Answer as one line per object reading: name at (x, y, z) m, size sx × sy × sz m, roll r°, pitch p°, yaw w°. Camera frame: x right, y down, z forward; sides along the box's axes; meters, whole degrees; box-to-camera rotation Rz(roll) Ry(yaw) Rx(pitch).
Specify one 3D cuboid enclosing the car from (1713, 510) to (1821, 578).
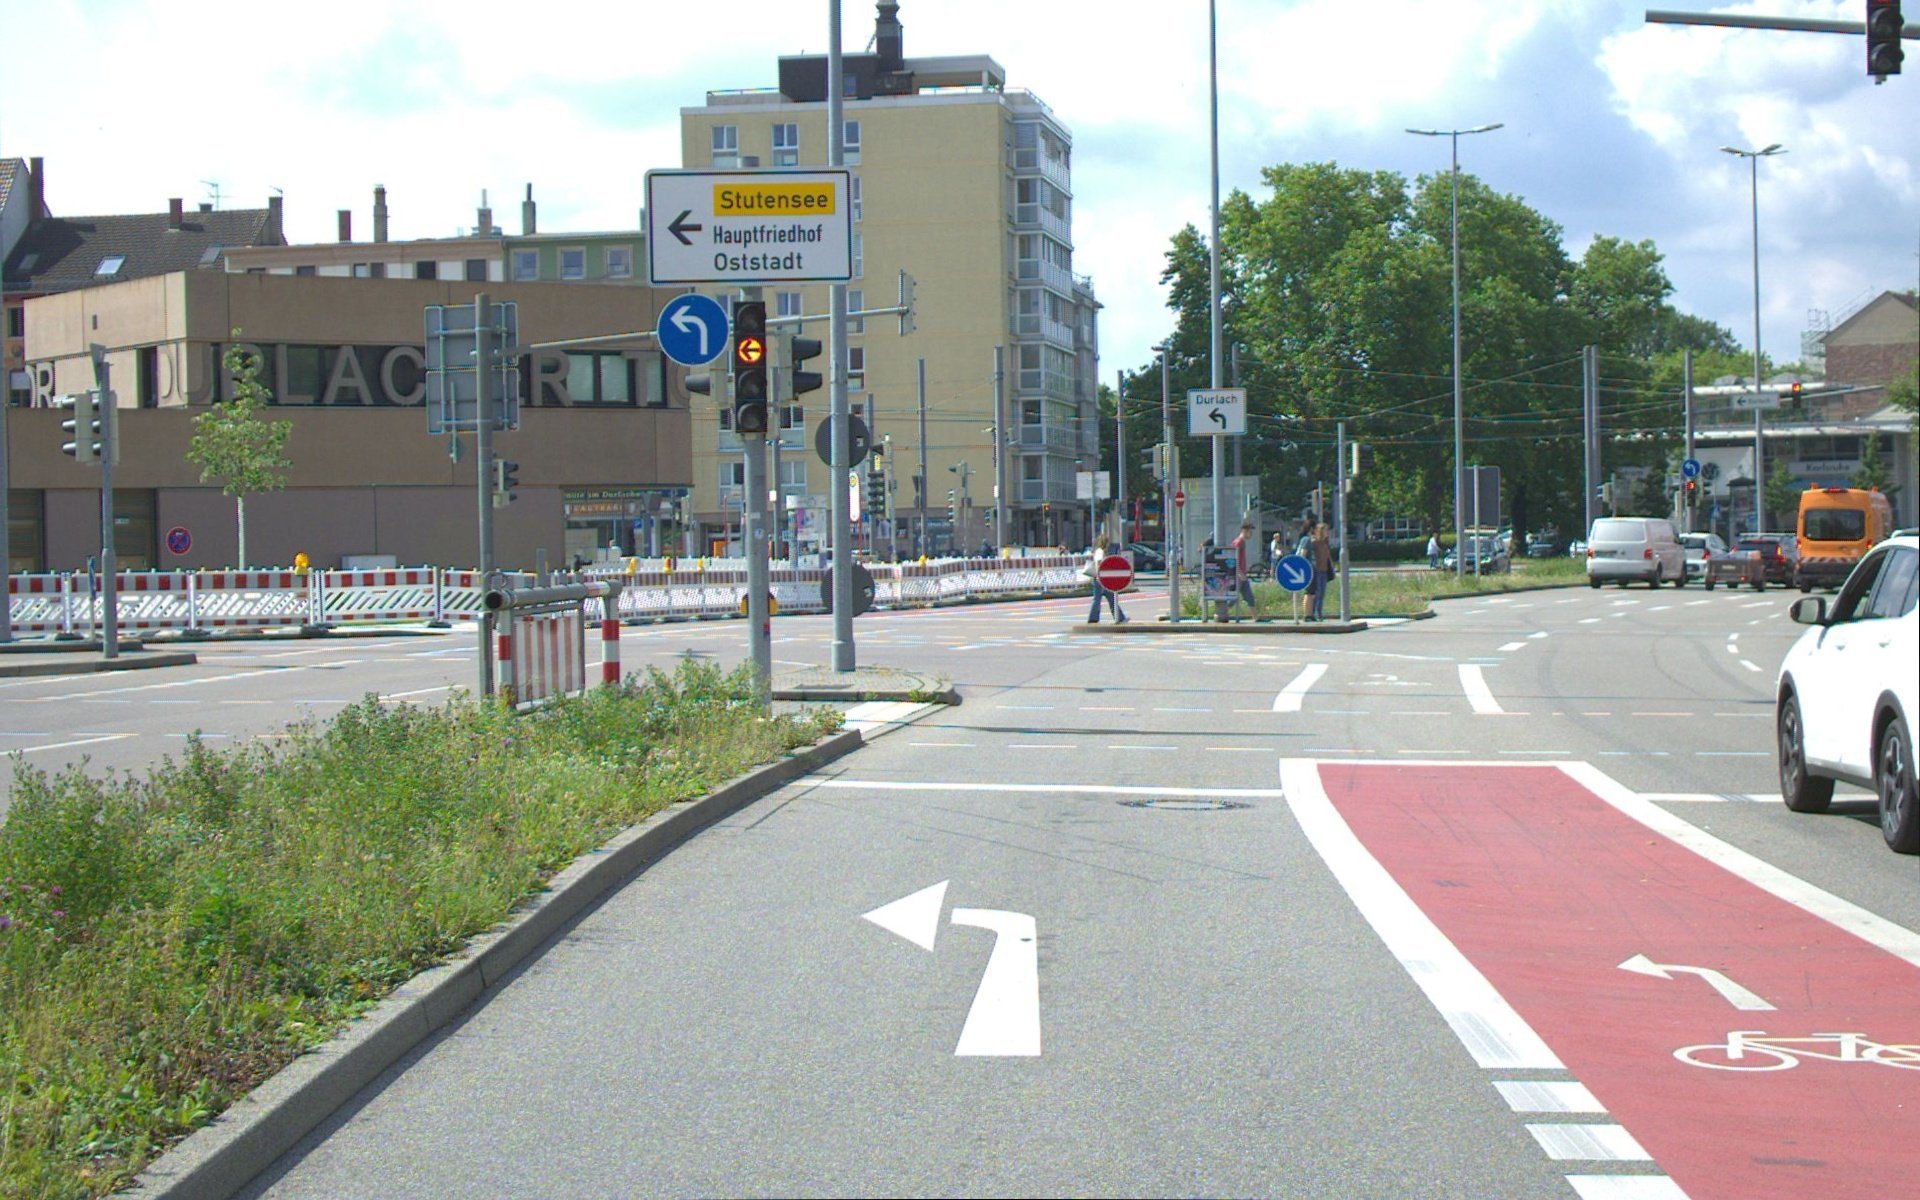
car at (22.595, -1.581, 96.148) m, size 1.996 × 1.820 × 3.994 m, roll -1°, pitch 1°, yaw 27°

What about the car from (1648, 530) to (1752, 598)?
car at (22.204, -1.083, 103.069) m, size 1.994 × 1.932 × 4.632 m, roll -1°, pitch 1°, yaw 26°

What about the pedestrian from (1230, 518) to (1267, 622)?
pedestrian at (4.847, -0.508, 57.701) m, size 0.525 × 1.727 × 0.623 m, roll -1°, pitch 1°, yaw 11°

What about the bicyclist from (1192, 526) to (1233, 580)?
bicyclist at (8.907, -1.653, 121.382) m, size 1.221 × 1.903 × 0.857 m, roll -1°, pitch 1°, yaw 22°

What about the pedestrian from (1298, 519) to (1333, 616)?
pedestrian at (6.191, -0.574, 59.867) m, size 0.525 × 1.678 × 0.623 m, roll -1°, pitch 1°, yaw 11°

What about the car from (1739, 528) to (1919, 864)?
car at (5.316, 0.411, 17.732) m, size 1.791 × 1.534 × 4.011 m, roll 1°, pitch 1°, yaw 2°

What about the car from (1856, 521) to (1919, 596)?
car at (23.613, -1.049, 84.907) m, size 1.996 × 1.789 × 3.994 m, roll -1°, pitch 1°, yaw 27°

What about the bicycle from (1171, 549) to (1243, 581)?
bicycle at (8.711, -1.235, 121.460) m, size 2.381 × 1.063 × 0.857 m, roll 0°, pitch 1°, yaw 22°

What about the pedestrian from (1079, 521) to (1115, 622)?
pedestrian at (2.381, -0.500, 59.760) m, size 0.525 × 1.727 × 0.623 m, roll -1°, pitch 1°, yaw 11°

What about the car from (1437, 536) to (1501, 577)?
car at (17.815, -1.523, 120.261) m, size 1.793 × 1.383 × 4.224 m, roll 0°, pitch 1°, yaw 14°

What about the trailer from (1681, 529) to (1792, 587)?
trailer at (21.014, -1.144, 92.949) m, size 1.996 × 1.472 × 3.994 m, roll -1°, pitch 1°, yaw 27°

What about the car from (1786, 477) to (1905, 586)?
car at (23.491, -1.817, 91.081) m, size 2.133 × 2.771 × 4.632 m, roll -1°, pitch 1°, yaw 26°

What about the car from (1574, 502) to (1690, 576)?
car at (18.721, -1.699, 95.625) m, size 2.008 × 1.960 × 4.632 m, roll -1°, pitch 1°, yaw 26°
